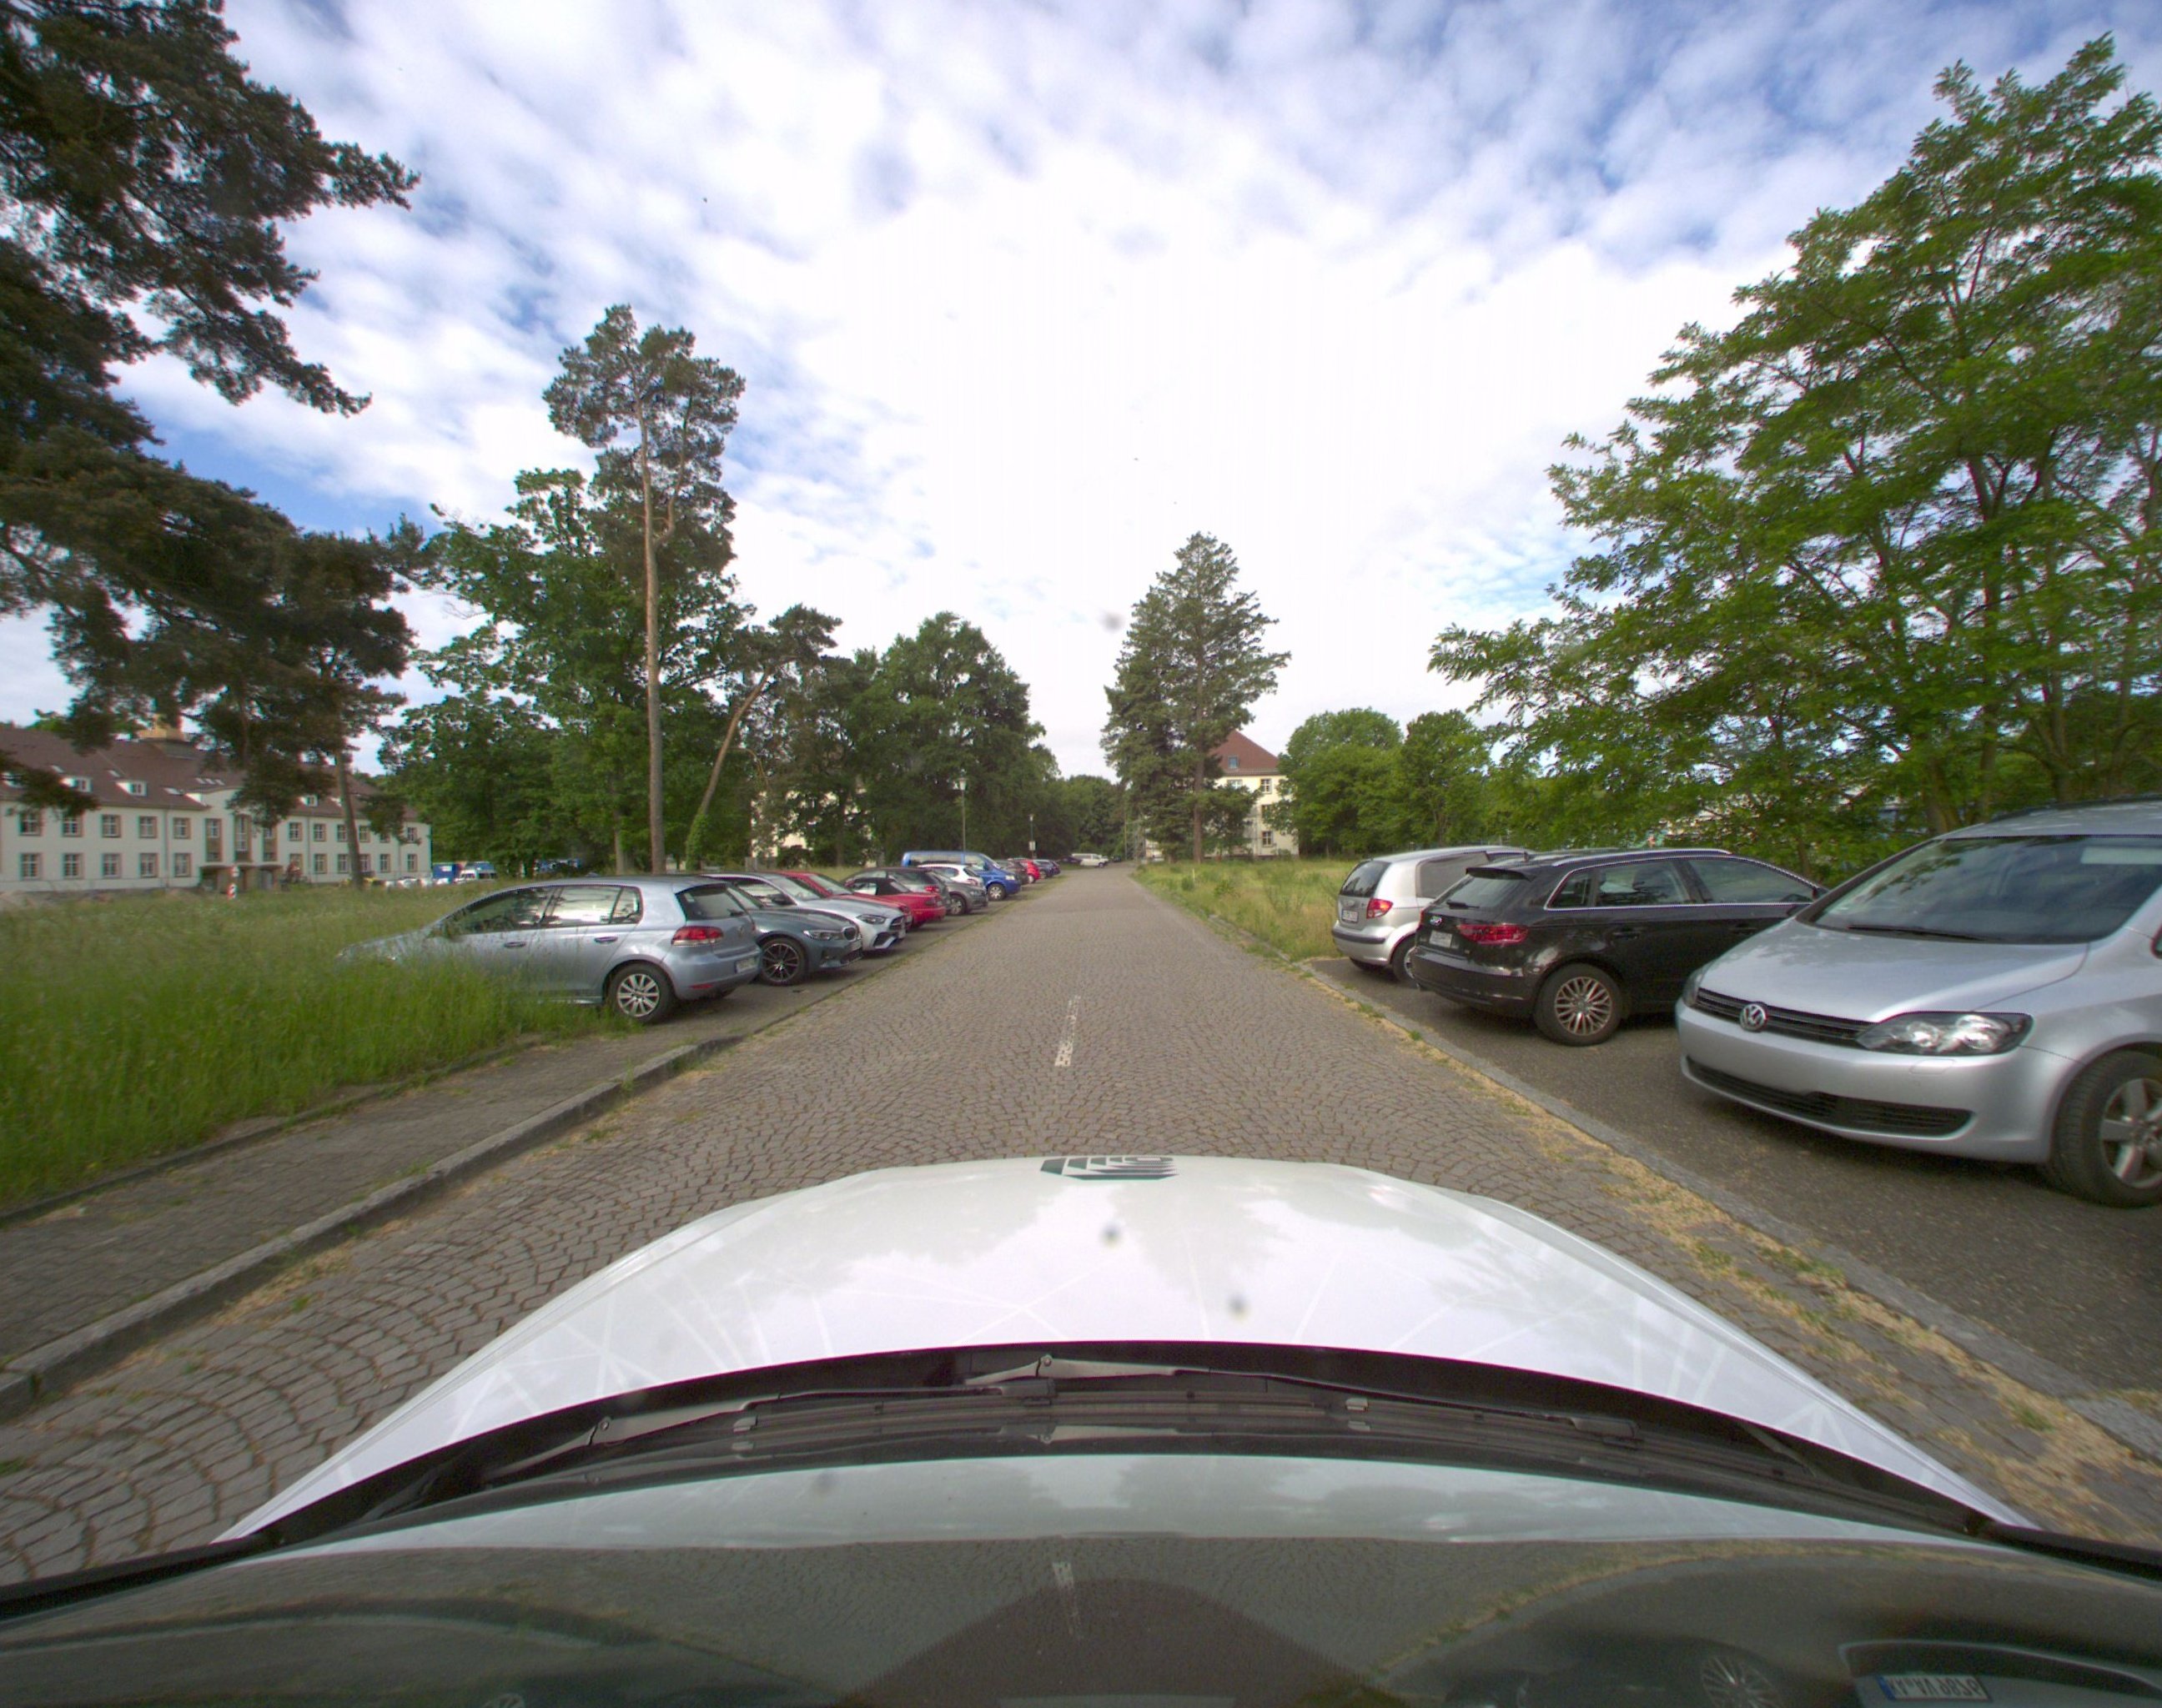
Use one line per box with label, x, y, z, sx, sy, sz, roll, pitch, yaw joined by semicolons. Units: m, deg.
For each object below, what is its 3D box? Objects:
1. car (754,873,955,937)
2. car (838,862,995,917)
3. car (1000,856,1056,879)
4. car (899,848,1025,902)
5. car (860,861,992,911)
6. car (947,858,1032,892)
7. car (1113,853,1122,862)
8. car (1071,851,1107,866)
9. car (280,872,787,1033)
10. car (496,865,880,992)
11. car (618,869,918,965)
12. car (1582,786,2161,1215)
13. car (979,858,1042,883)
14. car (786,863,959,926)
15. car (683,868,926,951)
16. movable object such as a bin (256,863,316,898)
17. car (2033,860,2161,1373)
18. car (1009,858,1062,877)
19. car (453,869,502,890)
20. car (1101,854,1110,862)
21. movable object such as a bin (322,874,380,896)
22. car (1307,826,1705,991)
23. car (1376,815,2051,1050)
car;-5.166;1.145;18.925;4.116;1.283;1.764;-1;0;1
car;-4.873;1.039;24.488;4.287;1.480;1.732;-1;0;2
car;-4.013;1.032;62.091;4.059;1.604;1.787;-1;0;-1
car;-4.693;0.824;32.655;4.694;1.980;2.038;-1;0;0
car;-5.146;1.060;27.358;3.989;1.501;1.844;-1;0;2
car;-4.597;1.044;41.526;4.055;1.575;1.954;-1;0;0
car;8.041;0.821;182.016;1.784;1.720;4.060;-2;-2;0
car;1.165;0.614;115.717;4.962;2.073;2.051;-1;-2;0
car;-5.741;0.996;8.925;4.312;1.470;1.828;-1;-1;2
car;-5.333;0.975;11.548;4.490;1.537;1.869;-1;-1;-2
car;-5.302;1.047;14.234;4.420;1.455;1.950;-1;-1;1
car;5.356;0.472;4.279;4.321;1.574;1.824;-4;-1;-4
car;-4.426;1.034;51.842;3.803;1.489;1.787;-1;0;0
car;-5.452;1.049;21.611;4.072;1.480;1.756;-1;0;2
car;-5.481;1.076;16.546;4.239;1.455;1.856;-1;0;1
movable object such as a bin;-87.796;2.974;89.960;6.066;3.642;2.151;-3;-2;18
car;5.288;0.576;1.701;4.538;1.425;1.825;-5;-1;-2
car;-3.696;1.078;66.785;4.052;1.467;1.628;-1;0;4
car;-66.542;2.792;89.819;2.054;2.095;4.345;-3;-2;1
car;5.421;0.949;181.726;1.784;1.636;4.060;-2;-2;0
movable object such as a bin;-81.906;3.497;91.365;4.484;2.254;2.384;-2;-2;6
car;4.854;0.572;9.674;3.762;1.479;1.742;-5;1;-2
car;5.058;0.570;6.969;4.353;1.406;1.796;-5;1;-1
